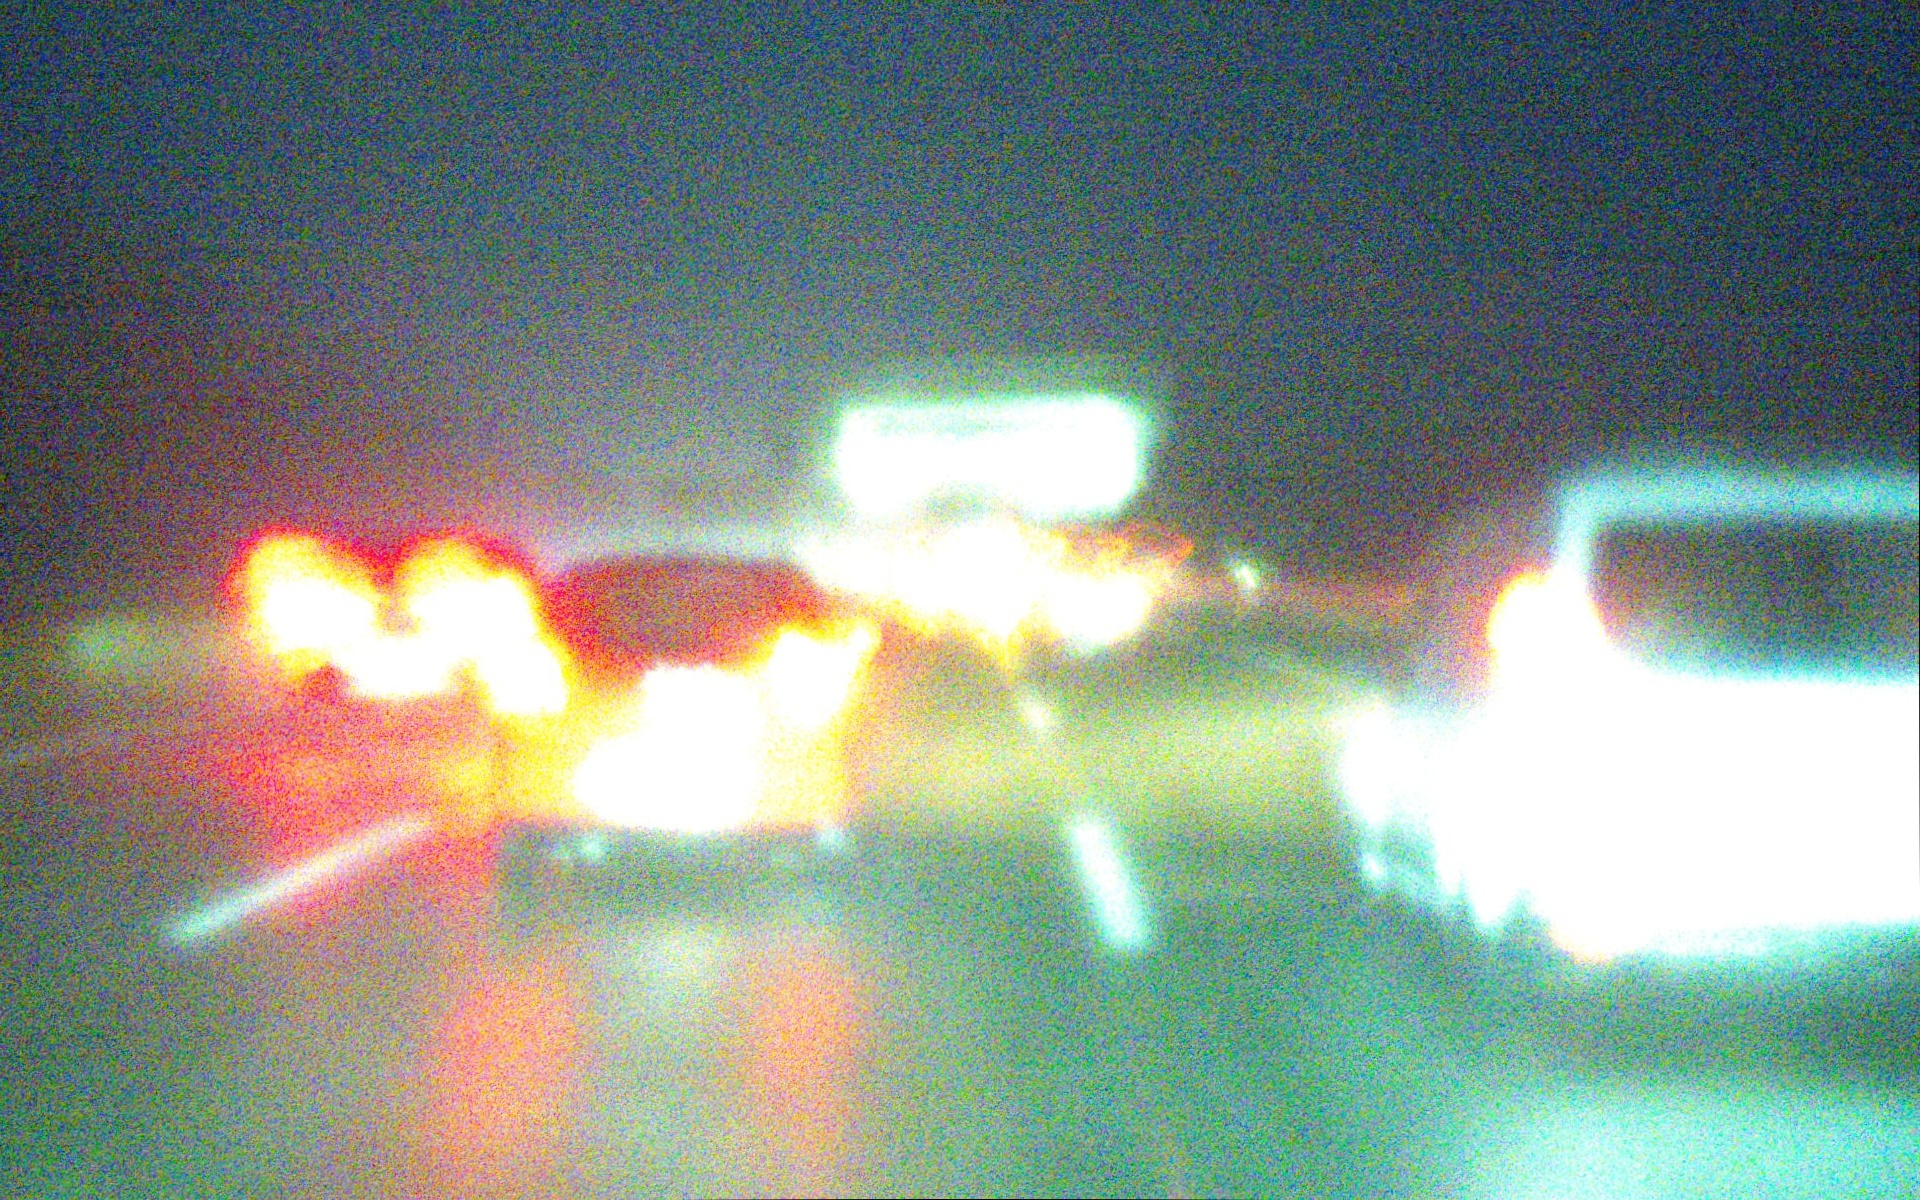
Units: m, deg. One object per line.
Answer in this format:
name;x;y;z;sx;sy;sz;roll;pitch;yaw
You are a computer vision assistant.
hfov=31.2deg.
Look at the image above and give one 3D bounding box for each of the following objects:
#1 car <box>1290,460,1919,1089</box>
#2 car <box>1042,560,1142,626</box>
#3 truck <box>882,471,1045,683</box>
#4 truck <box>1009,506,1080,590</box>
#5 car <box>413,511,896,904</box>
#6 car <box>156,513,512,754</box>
car;2.477;0.437;12.573;1.953;1.786;5.125;-2;1;0
car;2.824;-0.162;74.182;1.889;1.349;4.000;1;0;-1
truck;0.055;-0.631;98.632;4.167;5.525;13.074;-2;0;0
truck;5.306;-3.233;218.525;3.824;4.898;11.606;-4;0;0
car;-1.331;0.452;16.646;1.916;1.589;4.233;-2;0;0
car;-5.115;0.254;28.772;1.993;1.771;4.887;-2;0;0
